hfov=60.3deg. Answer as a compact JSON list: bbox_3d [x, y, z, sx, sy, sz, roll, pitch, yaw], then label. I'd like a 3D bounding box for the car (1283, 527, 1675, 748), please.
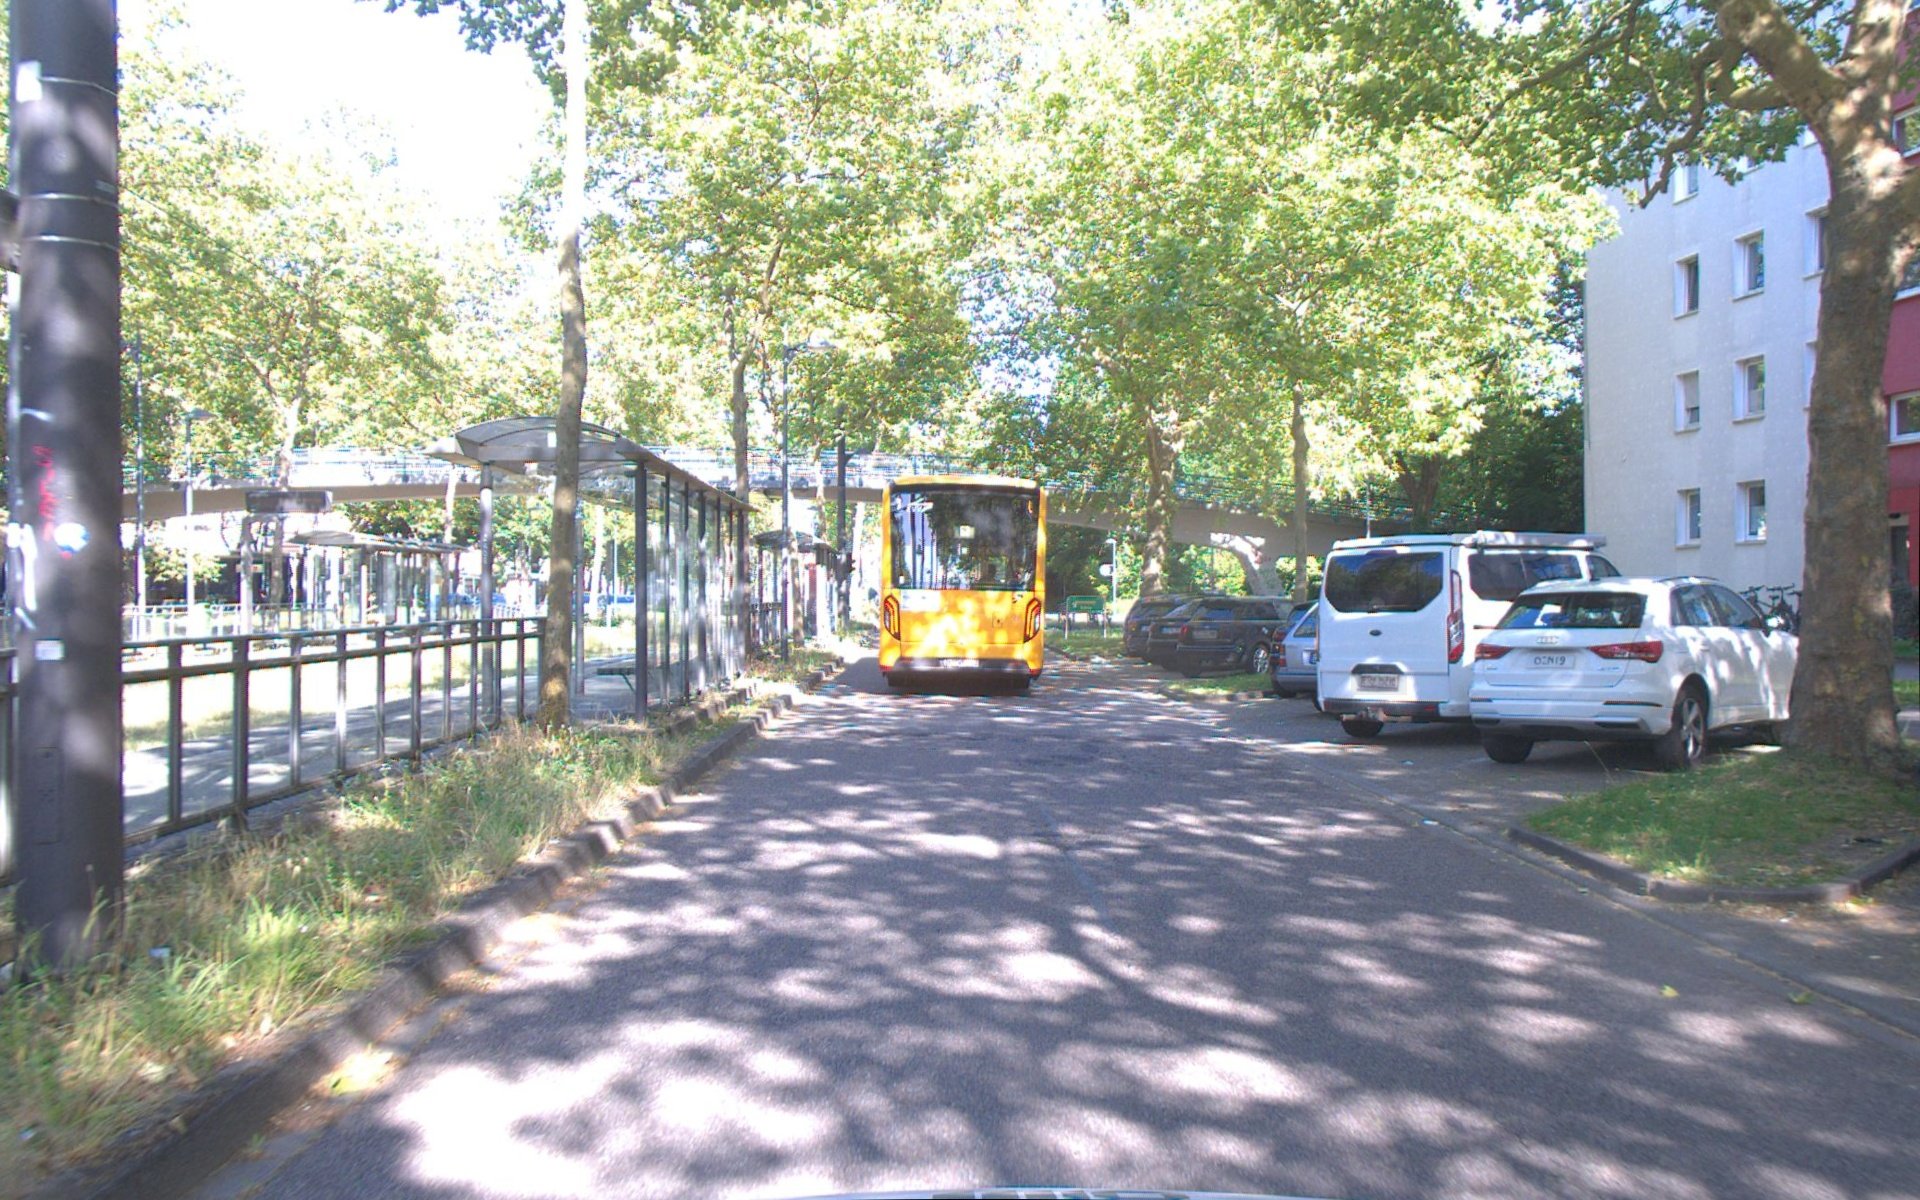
[{"bbox_3d":[5.733,0.312,17.988,4.551,2.088,1.987,-2,0,-42],"label":"car"}]

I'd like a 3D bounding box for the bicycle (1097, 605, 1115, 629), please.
[{"bbox_3d":[5.831,0.678,66.010,0.495,0.867,1.473,-3,1,-2],"label":"bicycle"}]

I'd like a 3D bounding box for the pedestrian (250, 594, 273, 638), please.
[{"bbox_3d":[-26.656,0.609,63.127,0.635,1.690,0.649,0,0,-6],"label":"pedestrian"}]

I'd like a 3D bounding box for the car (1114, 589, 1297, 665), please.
[{"bbox_3d":[5.545,0.594,37.106,4.220,1.487,1.772,-2,0,-42],"label":"car"}]

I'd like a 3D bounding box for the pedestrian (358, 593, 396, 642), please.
[{"bbox_3d":[-15.207,0.457,43.164,0.762,1.259,0.721,0,0,-3],"label":"pedestrian"}]

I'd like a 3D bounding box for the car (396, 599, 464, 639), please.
[{"bbox_3d":[-21.849,0.753,68.349,1.759,1.593,4.283,0,0,-5],"label":"car"}]

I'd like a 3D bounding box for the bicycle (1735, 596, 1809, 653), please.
[{"bbox_3d":[16.488,0.479,33.622,0.578,1.127,1.800,0,0,-1],"label":"bicycle"}]

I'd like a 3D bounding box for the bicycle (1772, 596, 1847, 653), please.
[{"bbox_3d":[17.281,0.488,33.690,0.578,1.127,1.799,0,0,-1],"label":"bicycle"}]

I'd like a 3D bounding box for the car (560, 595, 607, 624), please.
[{"bbox_3d":[-21.304,0.524,93.647,1.758,1.608,4.287,0,0,-1],"label":"car"}]

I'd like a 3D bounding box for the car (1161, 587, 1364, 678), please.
[{"bbox_3d":[5.706,0.586,30.973,3.971,1.493,1.753,-2,0,-45],"label":"car"}]

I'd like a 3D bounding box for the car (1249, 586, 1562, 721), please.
[{"bbox_3d":[5.871,0.630,21.477,4.554,1.448,1.772,-3,0,-43],"label":"car"}]

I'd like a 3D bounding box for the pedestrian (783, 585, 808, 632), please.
[{"bbox_3d":[-5.156,0.272,51.922,0.710,1.442,0.681,1,0,-2],"label":"pedestrian"}]

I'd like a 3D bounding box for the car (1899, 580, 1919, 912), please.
[{"bbox_3d":[6.417,0.594,8.694,1.767,1.536,4.189,-2,0,41],"label":"car"}]

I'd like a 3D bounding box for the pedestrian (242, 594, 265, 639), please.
[{"bbox_3d":[-26.597,0.626,62.259,0.635,1.690,0.649,0,0,-6],"label":"pedestrian"}]

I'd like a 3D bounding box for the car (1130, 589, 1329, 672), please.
[{"bbox_3d":[5.596,0.598,34.031,4.220,1.487,1.773,-2,0,-42],"label":"car"}]

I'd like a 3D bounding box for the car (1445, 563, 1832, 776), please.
[{"bbox_3d":[6.266,0.540,15.064,4.028,1.608,1.803,-2,0,-45],"label":"car"}]

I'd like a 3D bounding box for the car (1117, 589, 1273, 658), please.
[{"bbox_3d":[5.801,0.557,40.531,1.769,1.487,3.973,-2,0,44],"label":"car"}]

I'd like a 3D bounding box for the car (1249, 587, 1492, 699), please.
[{"bbox_3d":[6.230,0.609,24.895,3.895,1.441,1.770,-2,0,-45],"label":"car"}]

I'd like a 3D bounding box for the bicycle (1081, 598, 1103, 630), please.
[{"bbox_3d":[5.267,0.550,66.043,0.578,1.203,1.799,-3,1,-2],"label":"bicycle"}]

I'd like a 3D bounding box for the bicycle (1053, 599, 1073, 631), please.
[{"bbox_3d":[4.120,0.605,66.056,0.578,1.203,1.799,-3,1,-2],"label":"bicycle"}]

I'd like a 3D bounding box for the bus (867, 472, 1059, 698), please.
[{"bbox_3d":[-0.180,-0.224,30.513,2.841,3.324,12.212,0,0,-2],"label":"bus"}]

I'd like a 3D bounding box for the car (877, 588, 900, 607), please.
[{"bbox_3d":[-6.685,-0.233,154.802,1.946,1.672,4.133,3,1,0],"label":"car"}]

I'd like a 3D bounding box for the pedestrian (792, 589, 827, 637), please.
[{"bbox_3d":[-4.059,0.357,44.704,0.837,1.265,0.850,1,0,0],"label":"pedestrian"}]

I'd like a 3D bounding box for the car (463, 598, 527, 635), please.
[{"bbox_3d":[-20.944,0.729,74.396,1.776,1.593,4.244,0,0,-30],"label":"car"}]
